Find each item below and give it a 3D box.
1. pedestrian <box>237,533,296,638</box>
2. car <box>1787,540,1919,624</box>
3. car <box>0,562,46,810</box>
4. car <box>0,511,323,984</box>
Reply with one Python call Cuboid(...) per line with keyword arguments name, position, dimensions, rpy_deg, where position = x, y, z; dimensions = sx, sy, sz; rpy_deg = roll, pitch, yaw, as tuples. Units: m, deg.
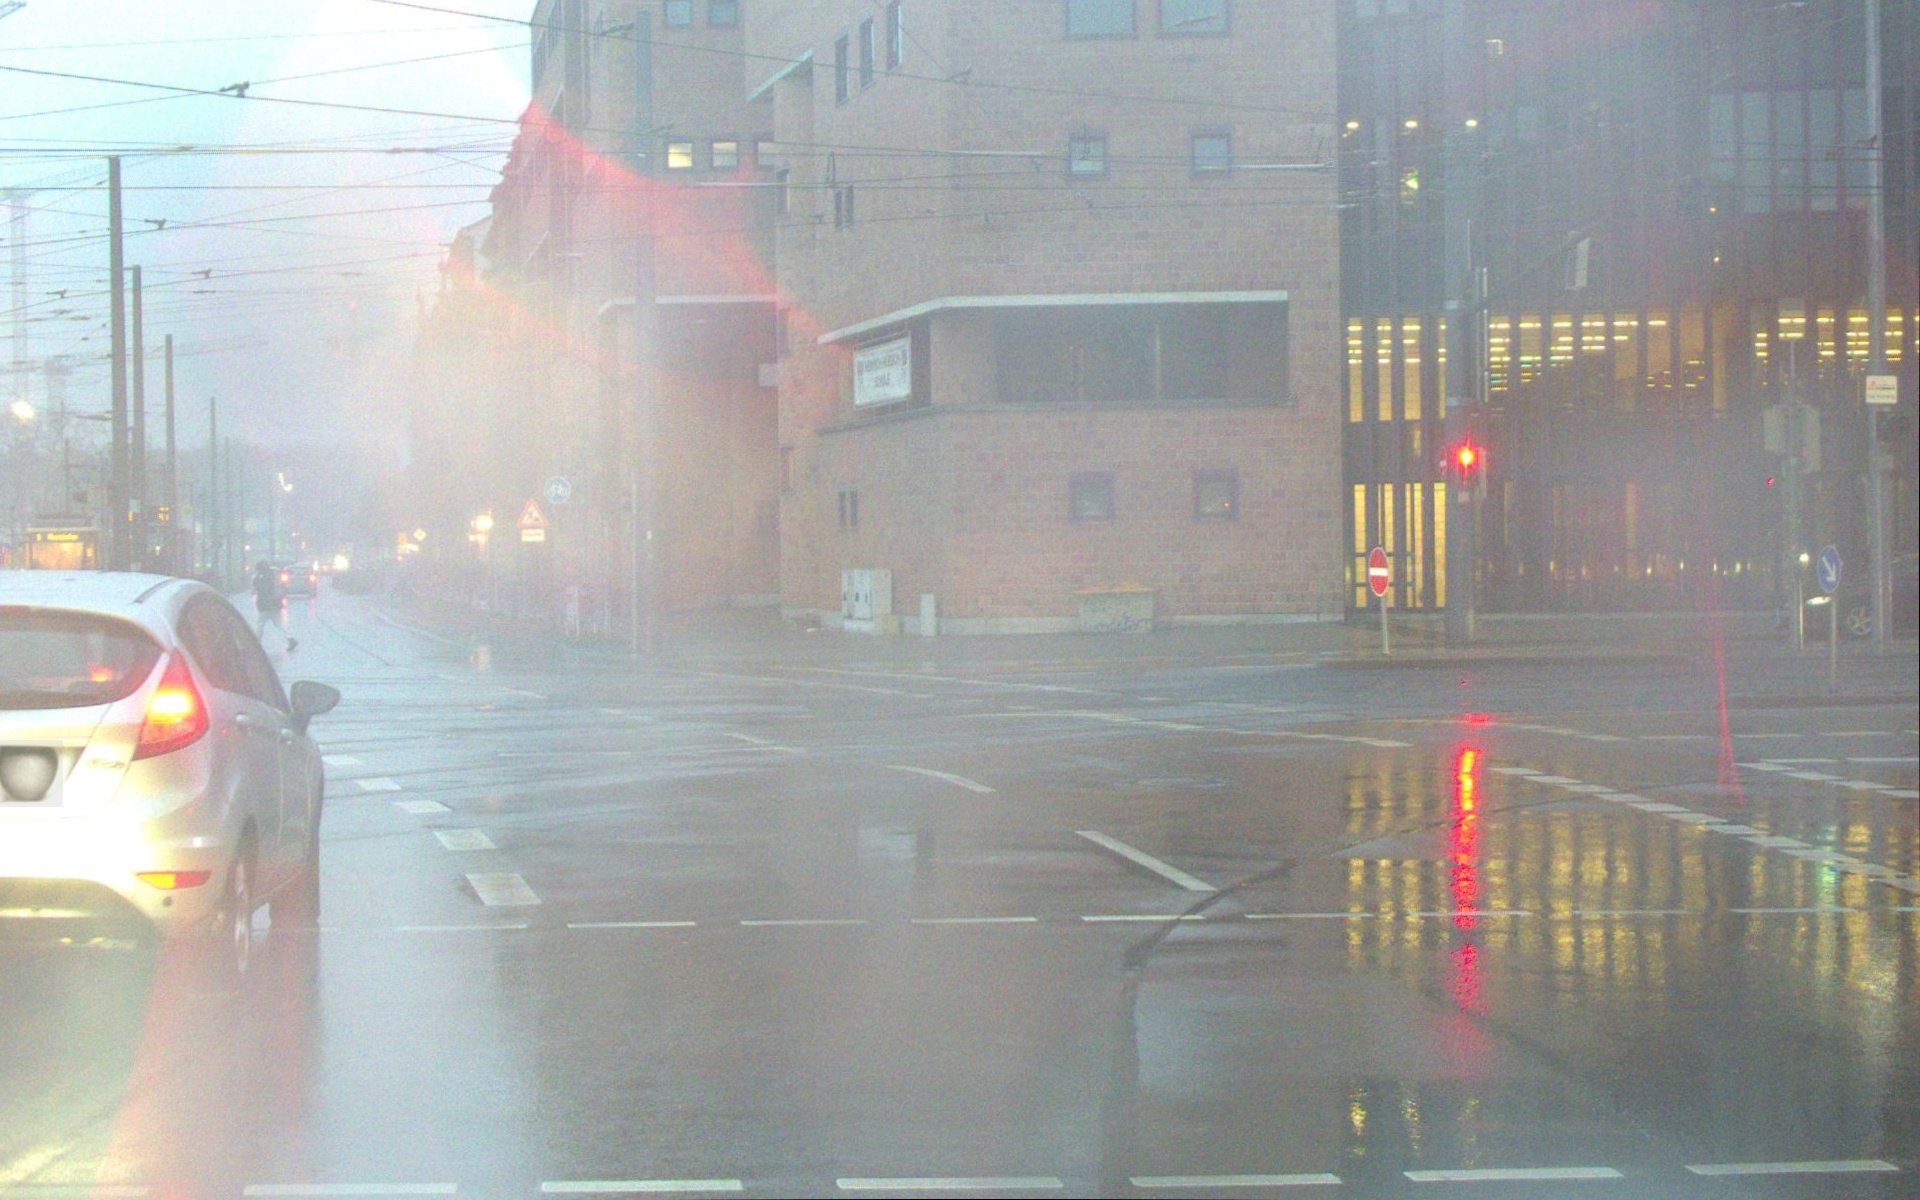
Cuboid(name="pedestrian", position=(-13.448, -0.294, 66.693), dimensions=(1.068, 2.007, 0.685), rpy_deg=(-1, 1, -13))
Cuboid(name="car", position=(15.691, -0.326, 55.734), dimensions=(3.986, 1.305, 2.000), rpy_deg=(-1, 1, -4))
Cuboid(name="car", position=(-6.959, 0.507, 21.631), dimensions=(1.697, 1.454, 3.758), rpy_deg=(-1, 1, -25))
Cuboid(name="car", position=(-3.443, 0.547, 12.626), dimensions=(1.705, 1.443, 4.000), rpy_deg=(-2, -2, -4))
